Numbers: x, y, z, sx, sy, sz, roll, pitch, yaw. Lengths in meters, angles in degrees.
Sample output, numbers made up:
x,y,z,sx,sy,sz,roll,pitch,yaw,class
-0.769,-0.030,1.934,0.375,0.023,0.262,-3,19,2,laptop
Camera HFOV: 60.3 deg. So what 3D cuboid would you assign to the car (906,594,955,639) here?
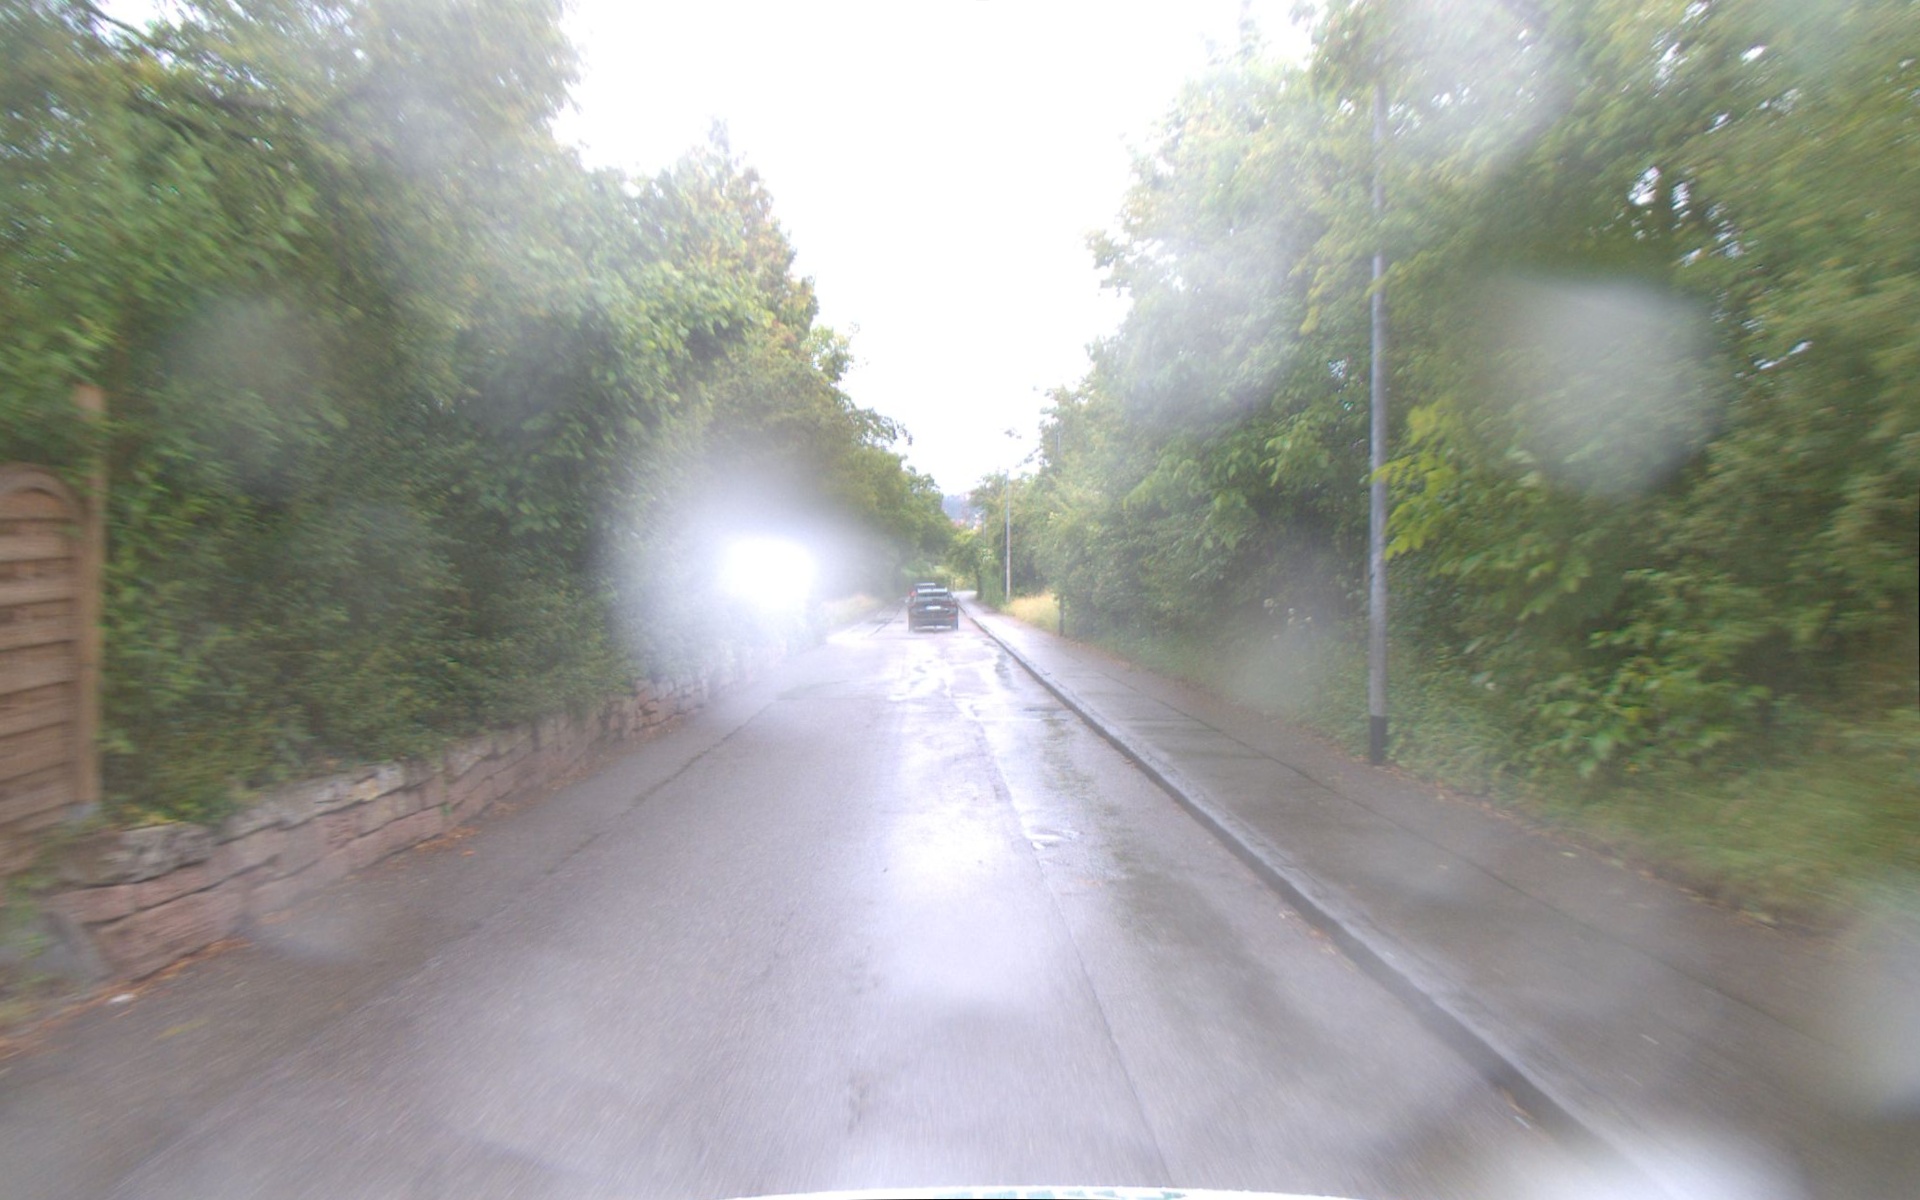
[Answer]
x,y,z,sx,sy,sz,roll,pitch,yaw,class
-1.002,0.583,57.893,1.601,1.475,3.544,-1,-1,1,car
